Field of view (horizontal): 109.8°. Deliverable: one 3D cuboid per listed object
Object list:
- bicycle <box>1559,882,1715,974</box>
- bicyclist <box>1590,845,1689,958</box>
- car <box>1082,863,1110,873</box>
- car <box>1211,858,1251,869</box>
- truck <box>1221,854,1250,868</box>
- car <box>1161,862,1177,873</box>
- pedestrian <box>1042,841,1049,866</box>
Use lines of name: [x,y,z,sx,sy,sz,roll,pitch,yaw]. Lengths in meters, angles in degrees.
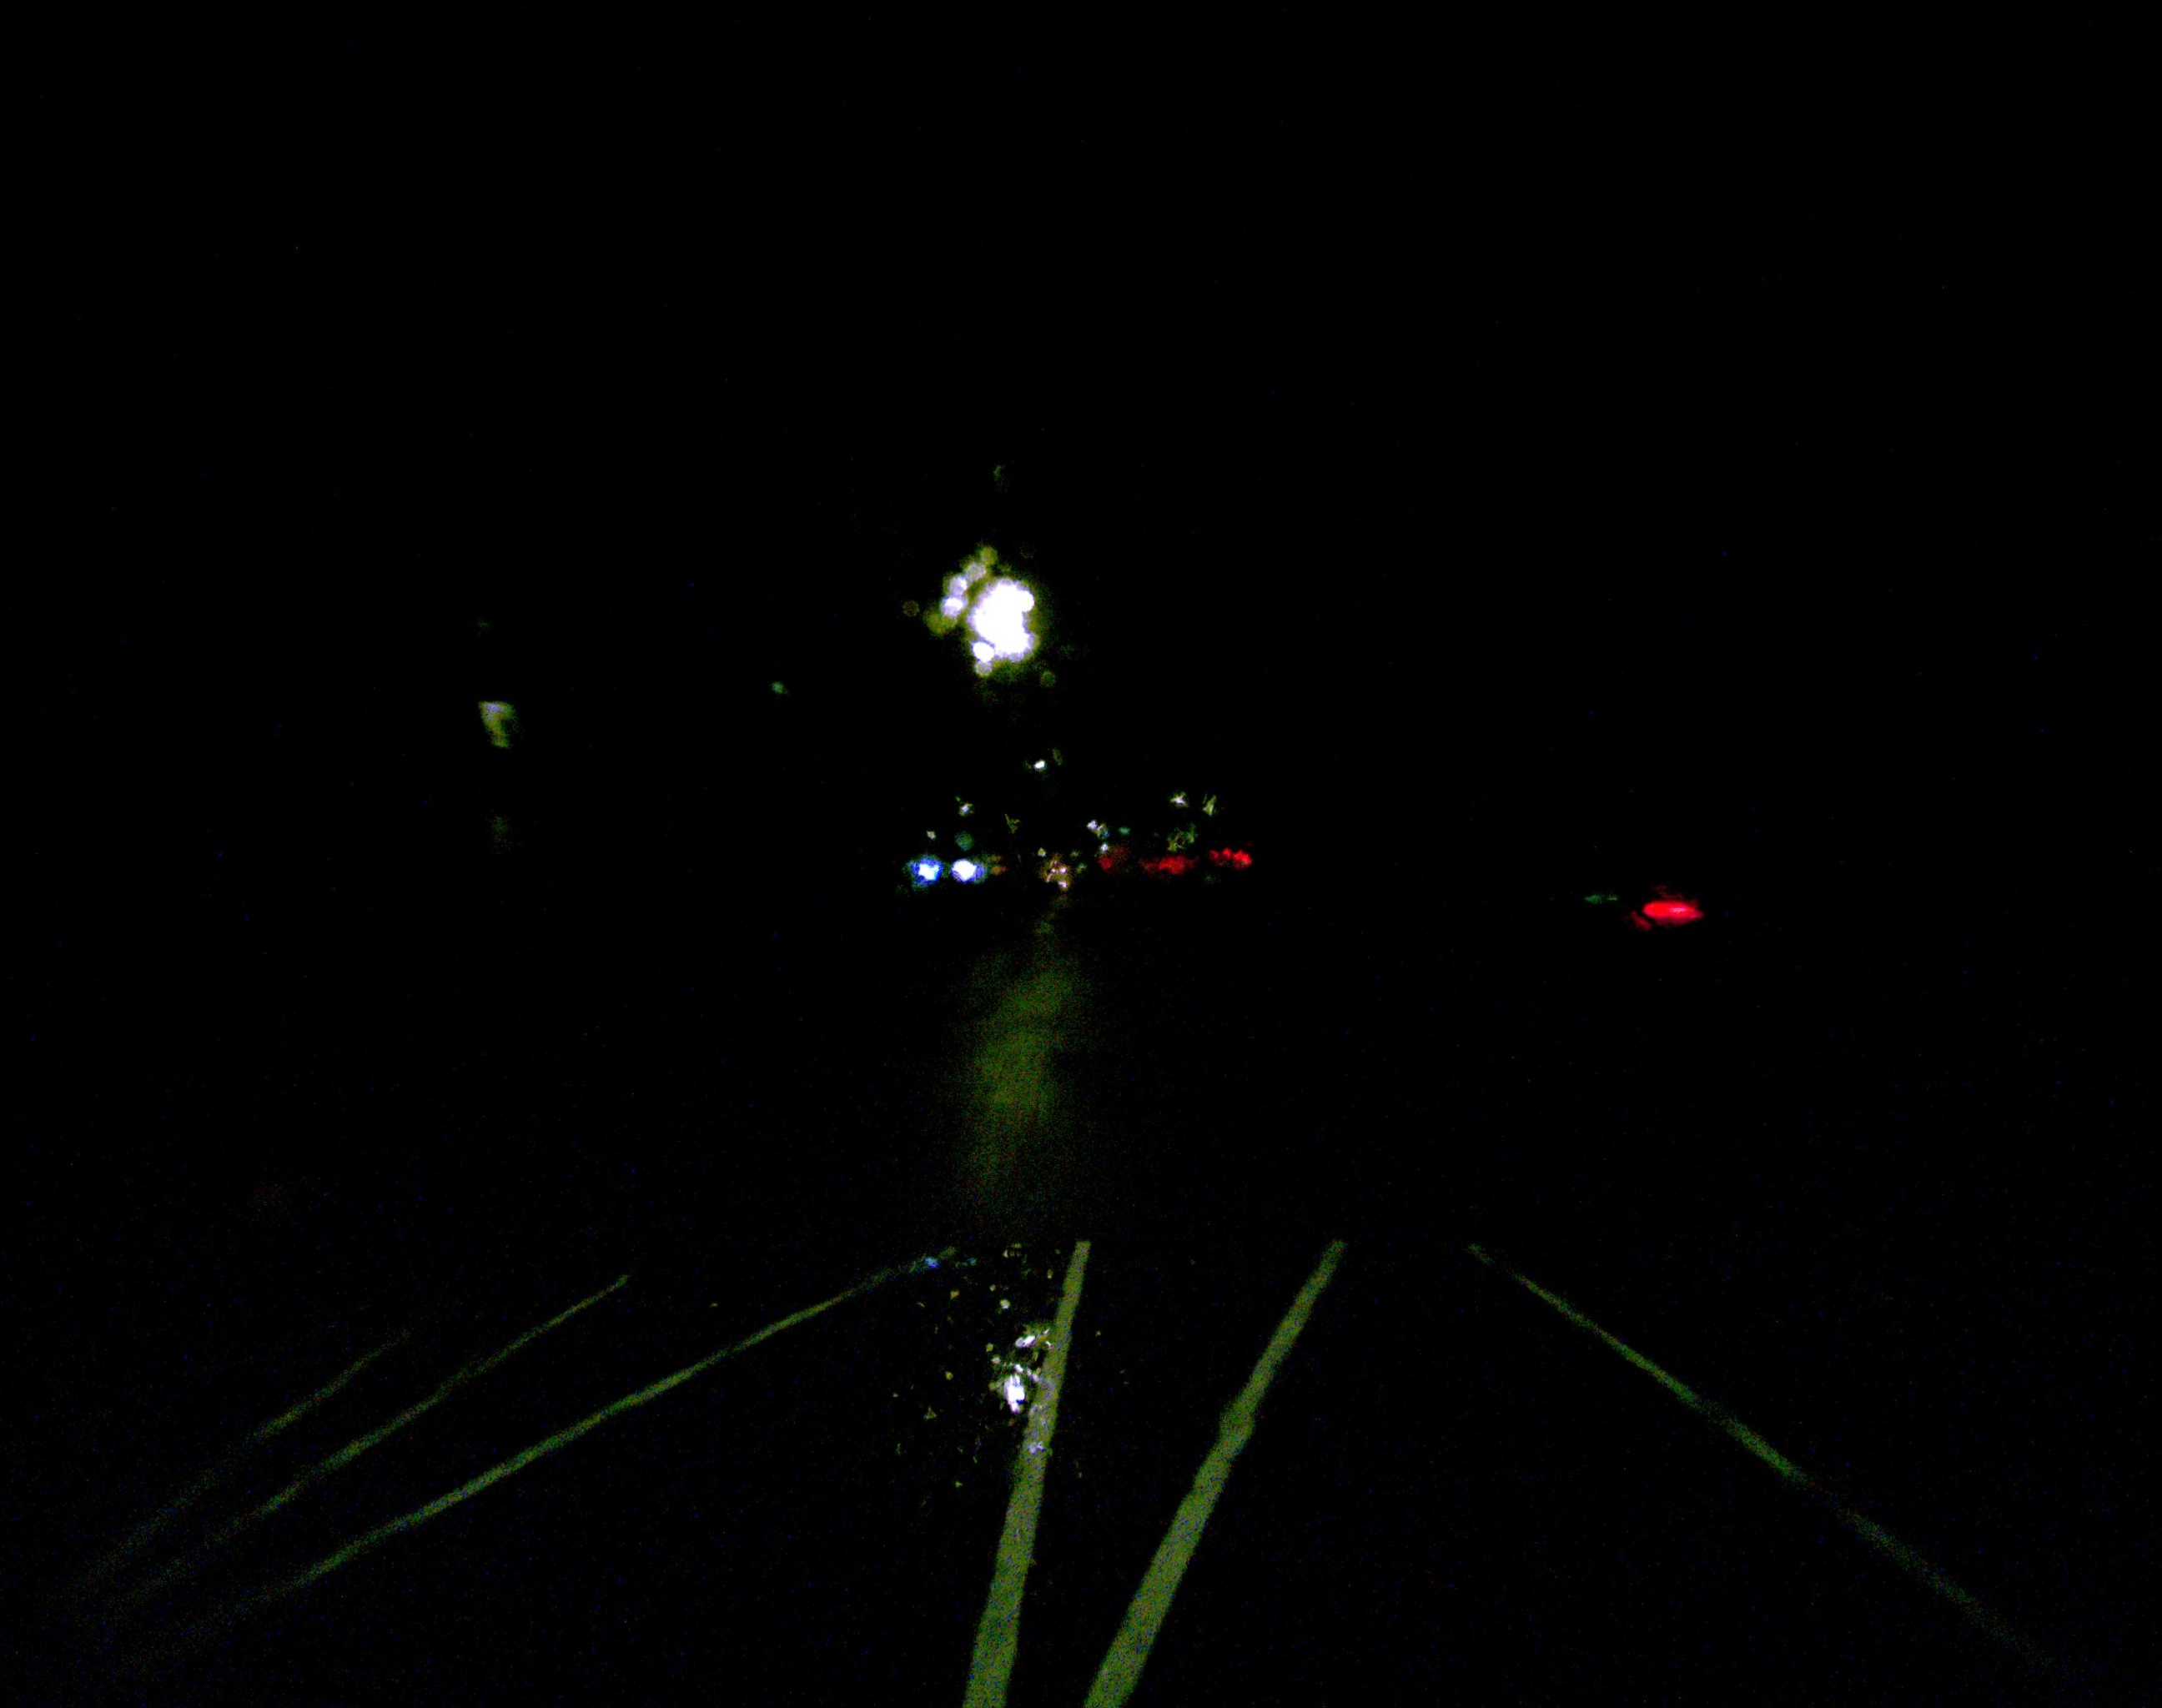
bicycle: [8.293,1.055,11.502,0.631,1.154,2.313,-2,0,0]
bicyclist: [8.277,0.706,11.311,0.638,1.584,0.961,-2,-3,-1]
car: [2.427,2.271,123.495,4.430,1.612,1.999,-1,0,-4]
car: [25.507,1.573,129.240,6.446,1.805,1.997,-1,0,-16]
truck: [27.745,1.257,136.375,2.316,2.382,7.829,0,0,34]
car: [12.394,1.894,107.103,1.997,1.447,4.306,3,0,8]
pedestrian: [-2.886,-0.011,61.497,0.550,2.002,0.743,-1,0,0]
